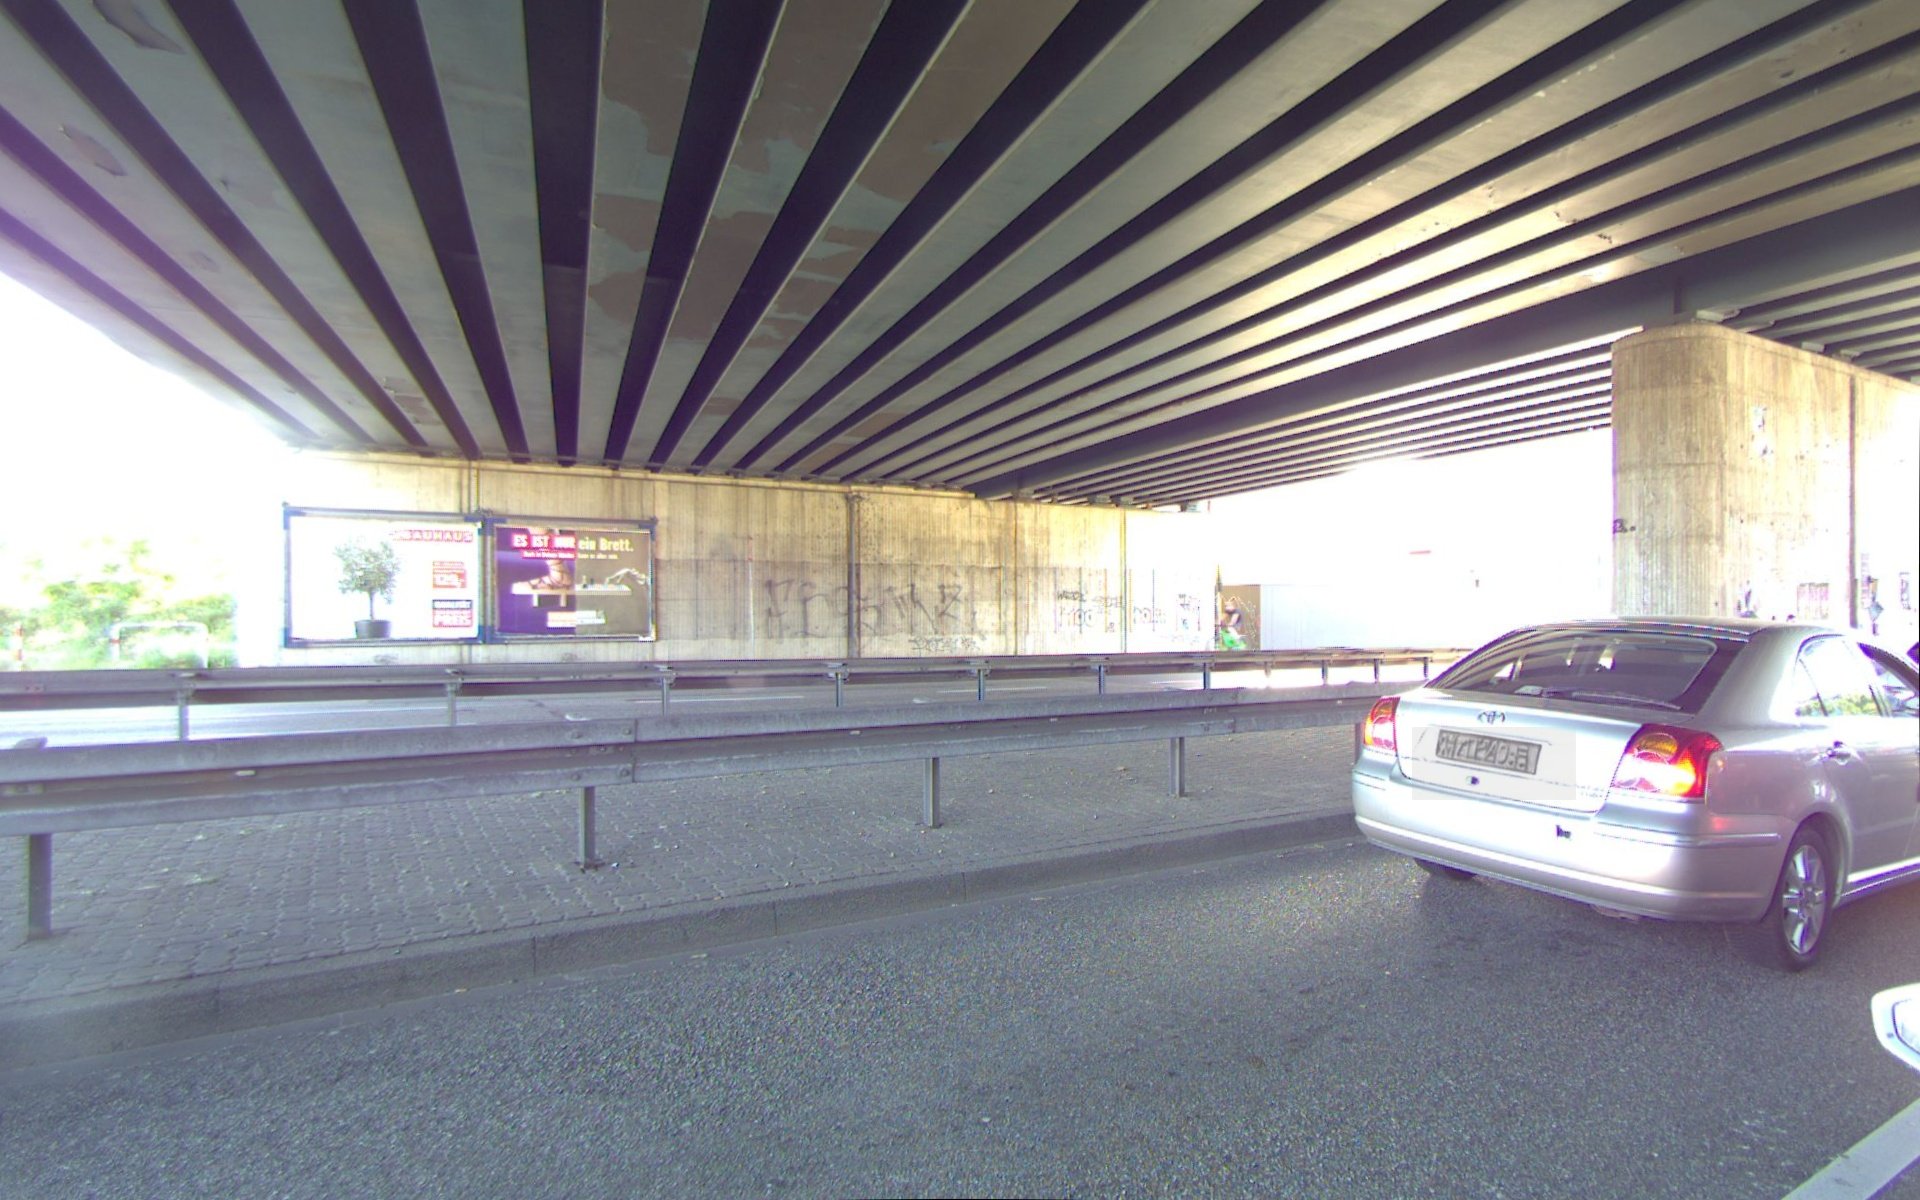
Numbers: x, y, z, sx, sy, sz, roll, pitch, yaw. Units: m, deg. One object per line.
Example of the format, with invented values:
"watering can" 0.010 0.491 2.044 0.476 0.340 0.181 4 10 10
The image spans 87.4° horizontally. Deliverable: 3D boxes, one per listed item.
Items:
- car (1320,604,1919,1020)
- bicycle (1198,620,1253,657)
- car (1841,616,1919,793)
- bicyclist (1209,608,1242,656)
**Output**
"car" 4.113 0.803 5.462 4.347 1.474 1.688 1 0 -31
"bicycle" 8.800 1.279 33.277 1.856 1.181 0.631 2 0 -30
"car" 9.587 0.891 8.869 3.770 1.429 1.683 1 0 -32
"bicyclist" 8.785 1.051 33.250 0.827 1.545 0.624 2 0 -30
